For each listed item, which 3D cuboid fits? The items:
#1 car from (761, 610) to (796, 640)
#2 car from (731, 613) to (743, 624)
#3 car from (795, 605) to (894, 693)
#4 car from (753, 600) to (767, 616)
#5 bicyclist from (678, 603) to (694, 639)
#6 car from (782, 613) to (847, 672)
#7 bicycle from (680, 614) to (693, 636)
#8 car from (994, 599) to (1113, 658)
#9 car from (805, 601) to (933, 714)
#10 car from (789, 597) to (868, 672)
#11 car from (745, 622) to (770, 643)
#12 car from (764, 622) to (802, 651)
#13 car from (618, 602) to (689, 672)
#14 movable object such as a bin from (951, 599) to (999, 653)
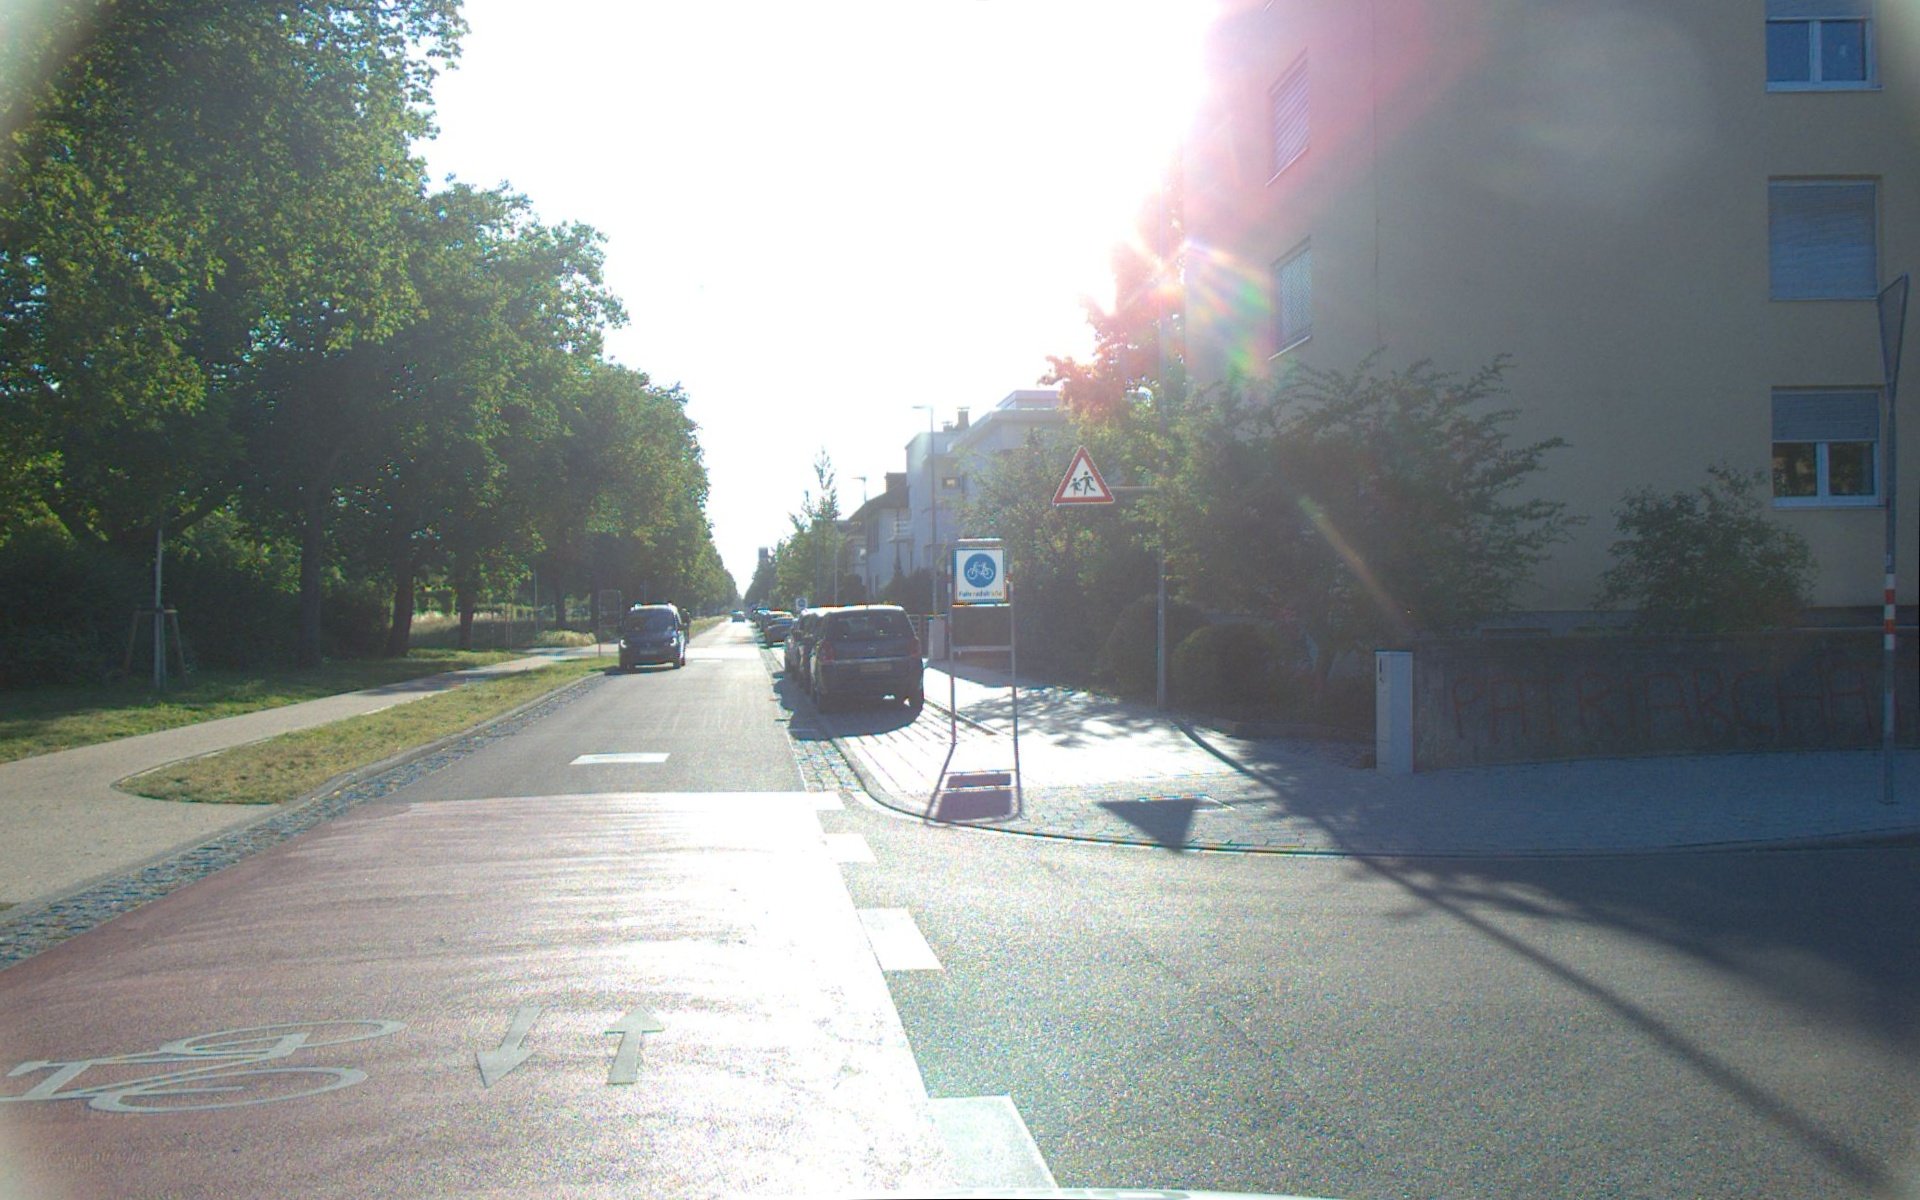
[{"bbox_3d":[-10.105,1.352,92.051,1.712,1.499,3.914,-4,0,-9],"label":"car"},{"bbox_3d":[-31.405,2.618,233.239,1.621,1.568,3.261,0,-1,-8],"label":"car"},{"bbox_3d":[-2.392,0.937,33.396,1.647,1.583,4.137,-3,0,-8],"label":"car"},{"bbox_3d":[-21.351,0.839,176.829,1.469,1.594,3.262,-1,0,-6],"label":"car"},{"bbox_3d":[-13.208,1.040,79.853,0.669,1.702,1.170,-2,-1,-8],"label":"bicyclist"},{"bbox_3d":[-3.935,1.099,44.372,1.534,1.414,4.367,-3,0,-7],"label":"car"},{"bbox_3d":[-13.197,1.208,79.890,0.546,1.050,1.911,-2,-1,-8],"label":"bicycle"},{"bbox_3d":[2.737,0.834,48.991,3.421,1.670,1.643,-1,-1,0],"label":"car"},{"bbox_3d":[-1.589,0.879,27.504,1.679,1.639,4.160,-3,0,-9],"label":"car"},{"bbox_3d":[-3.132,0.770,38.791,1.647,1.583,4.124,-3,0,-6],"label":"car"},{"bbox_3d":[-15.656,2.491,127.794,1.705,1.474,4.188,-3,-1,-9],"label":"car"},{"bbox_3d":[-8.644,1.769,80.669,1.741,1.311,4.265,0,0,-7],"label":"car"},{"bbox_3d":[-8.976,1.077,48.745,1.810,1.880,4.564,-2,0,-9],"label":"car"},{"bbox_3d":[0.404,0.720,45.676,1.213,1.457,1.121,-1,-1,-6],"label":"movable object such as a bin"}]
